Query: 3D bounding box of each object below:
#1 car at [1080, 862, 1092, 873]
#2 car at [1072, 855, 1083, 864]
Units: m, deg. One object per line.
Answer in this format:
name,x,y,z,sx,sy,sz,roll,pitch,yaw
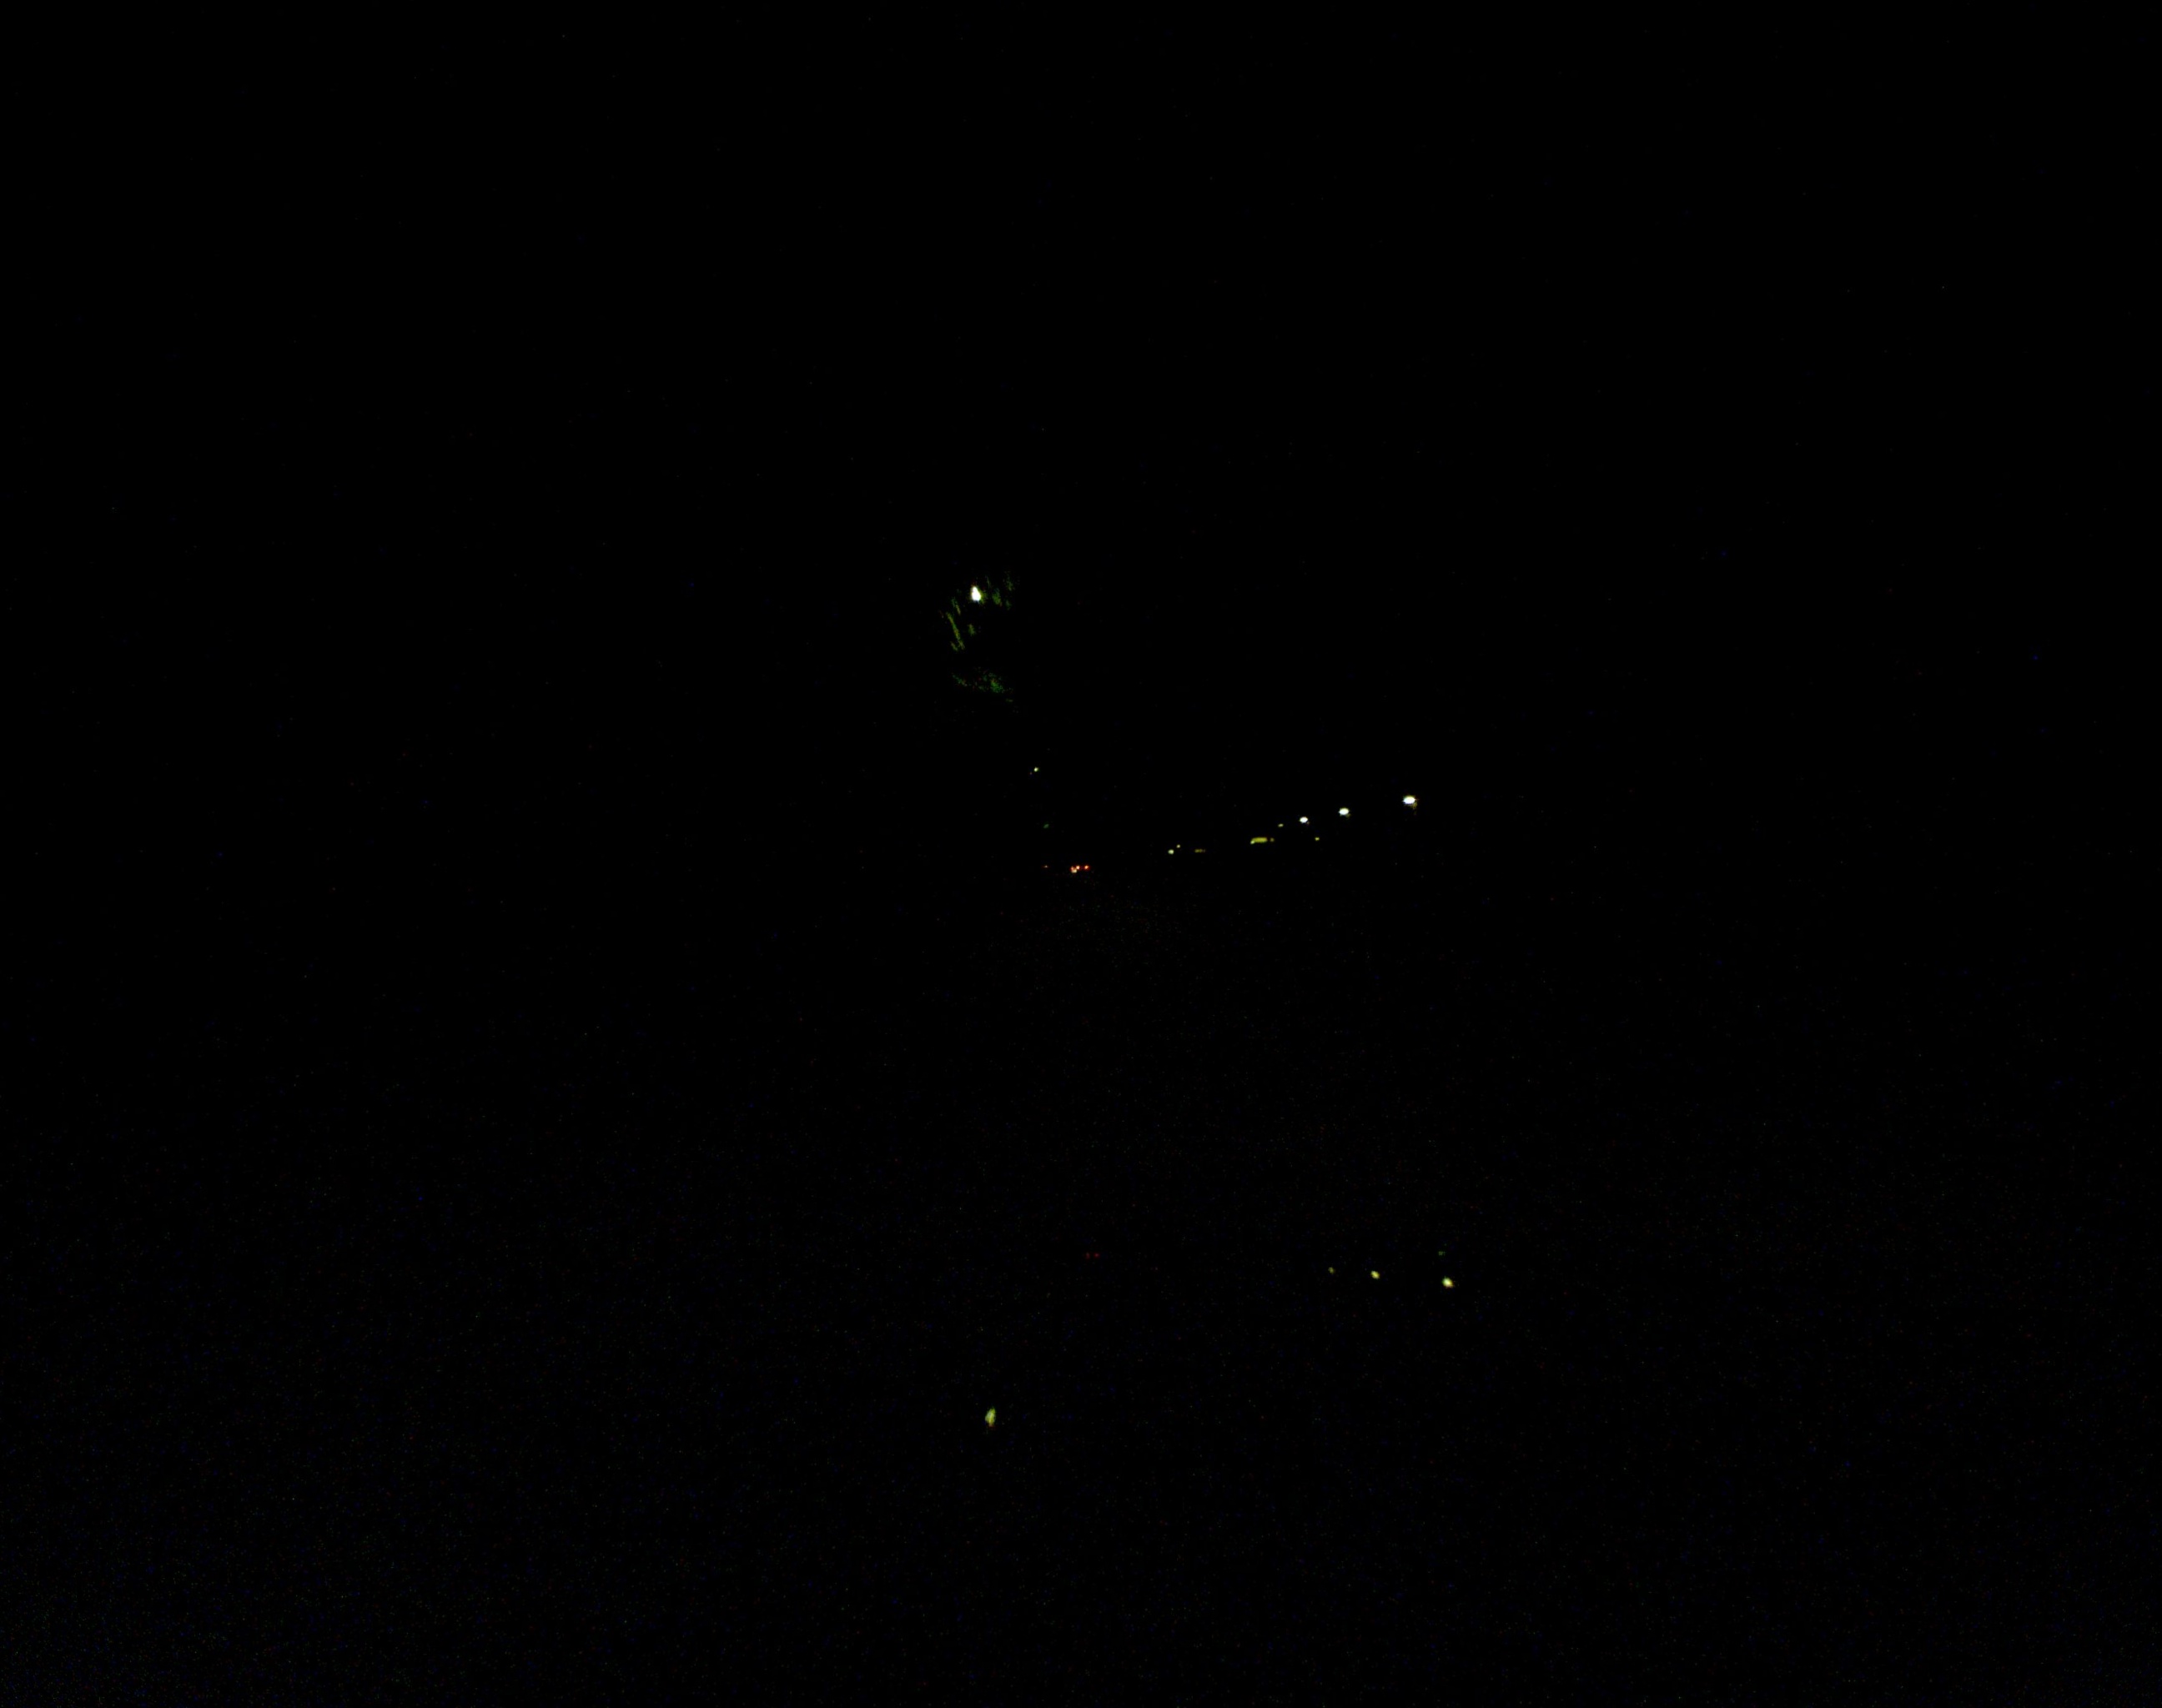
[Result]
car,0.746,1.935,111.297,1.651,1.483,3.557,-2,0,-2
car,-0.600,0.999,128.960,1.692,1.449,4.000,-2,0,0
